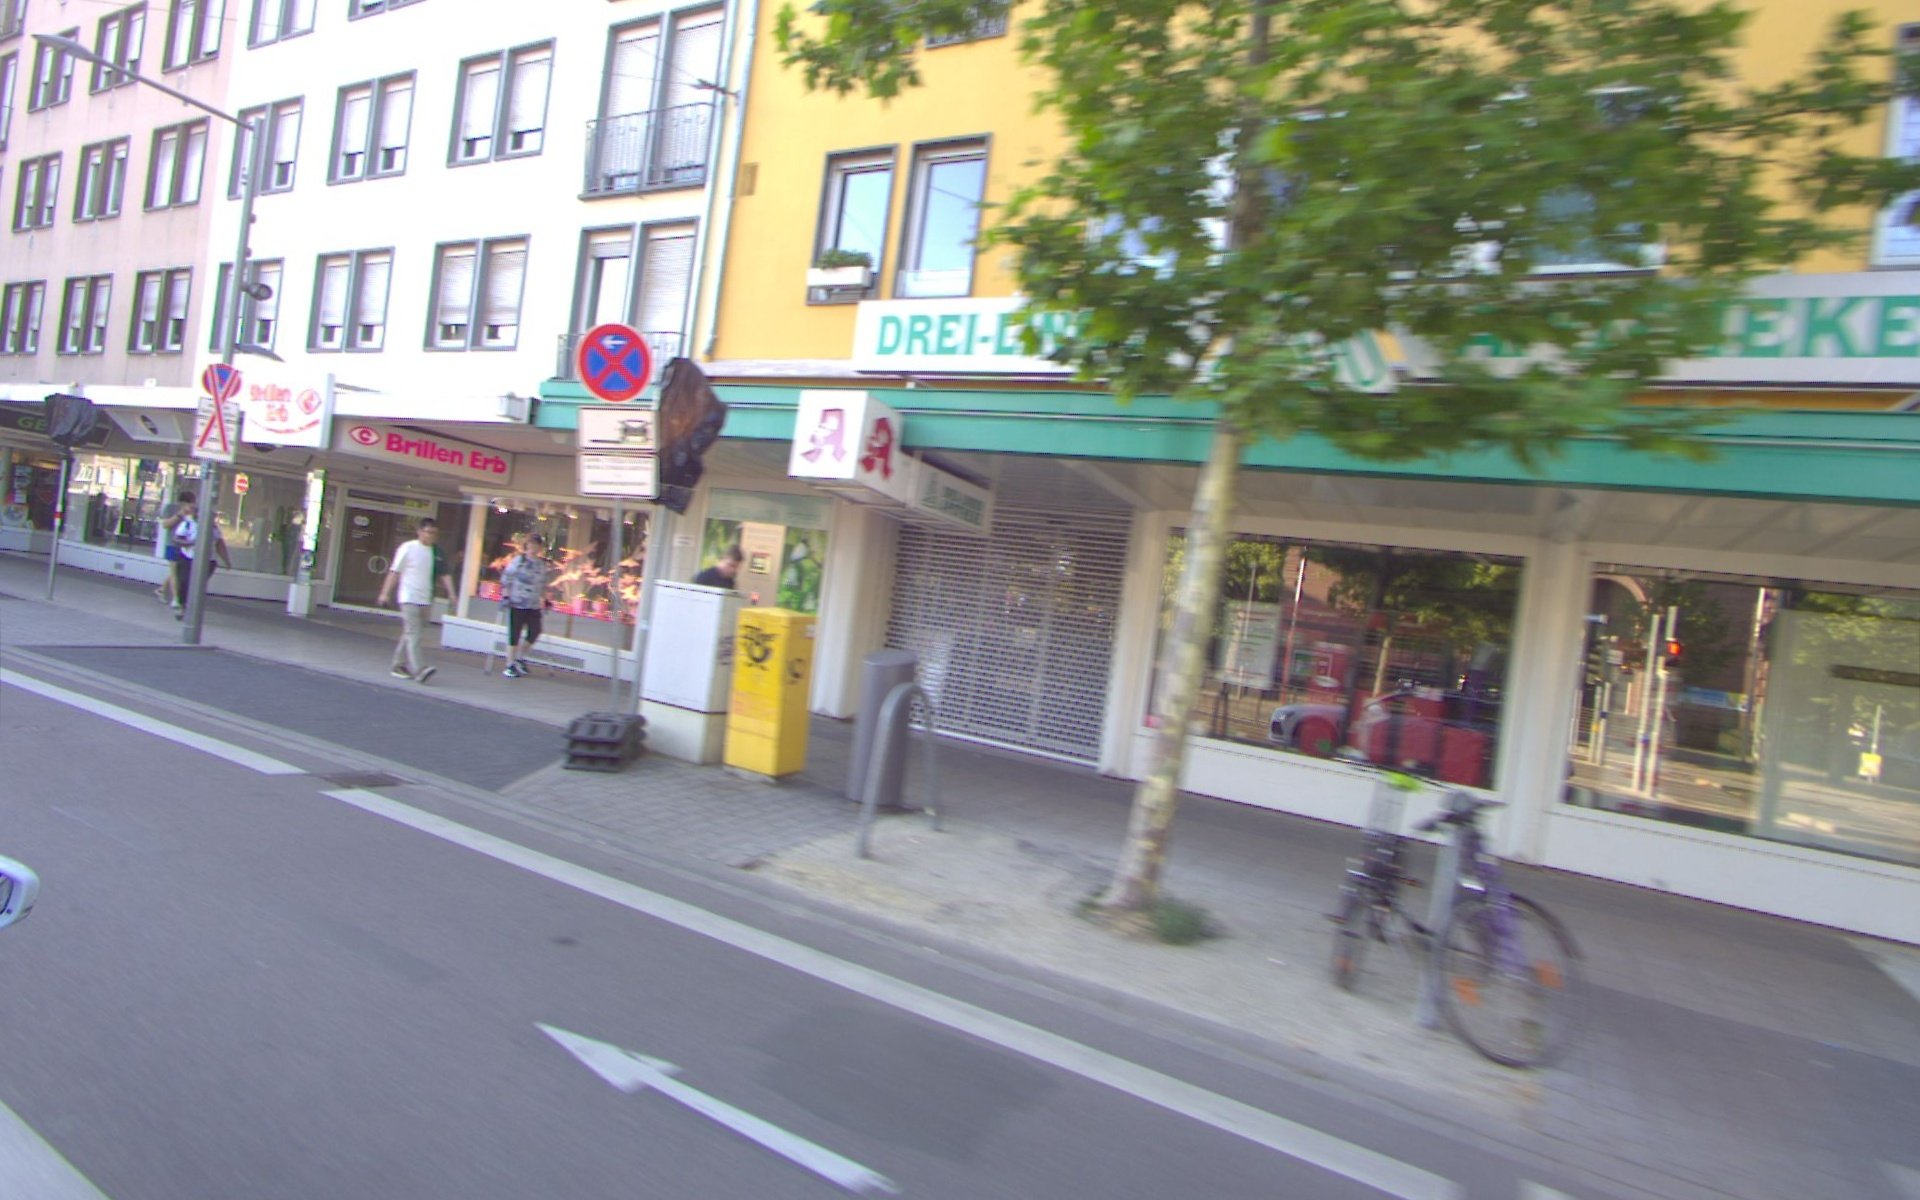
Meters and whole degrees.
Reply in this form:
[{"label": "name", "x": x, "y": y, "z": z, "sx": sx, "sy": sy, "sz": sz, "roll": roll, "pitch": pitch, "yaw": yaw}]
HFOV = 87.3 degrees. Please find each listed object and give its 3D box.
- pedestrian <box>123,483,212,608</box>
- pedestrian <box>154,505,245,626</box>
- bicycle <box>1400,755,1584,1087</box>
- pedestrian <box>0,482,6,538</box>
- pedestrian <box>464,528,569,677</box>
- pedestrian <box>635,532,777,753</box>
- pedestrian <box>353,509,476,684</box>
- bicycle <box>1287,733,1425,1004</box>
[{"label": "pedestrian", "x": -12.672, "y": -0.863, "z": 16.099, "sx": 0.753, "sy": 1.862, "sz": 0.725, "roll": 7, "pitch": 0, "yaw": 29}, {"label": "pedestrian", "x": -10.845, "y": -0.492, "z": 14.351, "sx": 0.836, "sy": 1.597, "sz": 0.611, "roll": 7, "pitch": 0, "yaw": 29}, {"label": "bicycle", "x": 2.482, "y": 1.378, "z": 4.792, "sx": 0.531, "sy": 1.021, "sz": 1.801, "roll": 7, "pitch": 1, "yaw": 26}, {"label": "pedestrian", "x": -20.773, "y": -1.731, "z": 21.152, "sx": 0.753, "sy": 1.652, "sz": 0.725, "roll": 7, "pitch": 0, "yaw": 29}, {"label": "pedestrian", "x": -5.542, "y": 0.047, "z": 12.585, "sx": 0.753, "sy": 1.744, "sz": 0.725, "roll": 7, "pitch": 0, "yaw": 29}, {"label": "pedestrian", "x": -2.264, "y": 0.372, "z": 9.001, "sx": 0.753, "sy": 1.828, "sz": 0.725, "roll": 7, "pitch": 0, "yaw": 29}, {"label": "pedestrian", "x": -5.985, "y": -0.024, "z": 11.055, "sx": 0.753, "sy": 1.800, "sz": 0.725, "roll": 7, "pitch": 0, "yaw": 29}, {"label": "bicycle", "x": 2.094, "y": 1.293, "z": 5.223, "sx": 0.446, "sy": 1.021, "sz": 1.485, "roll": 7, "pitch": 1, "yaw": 26}]
